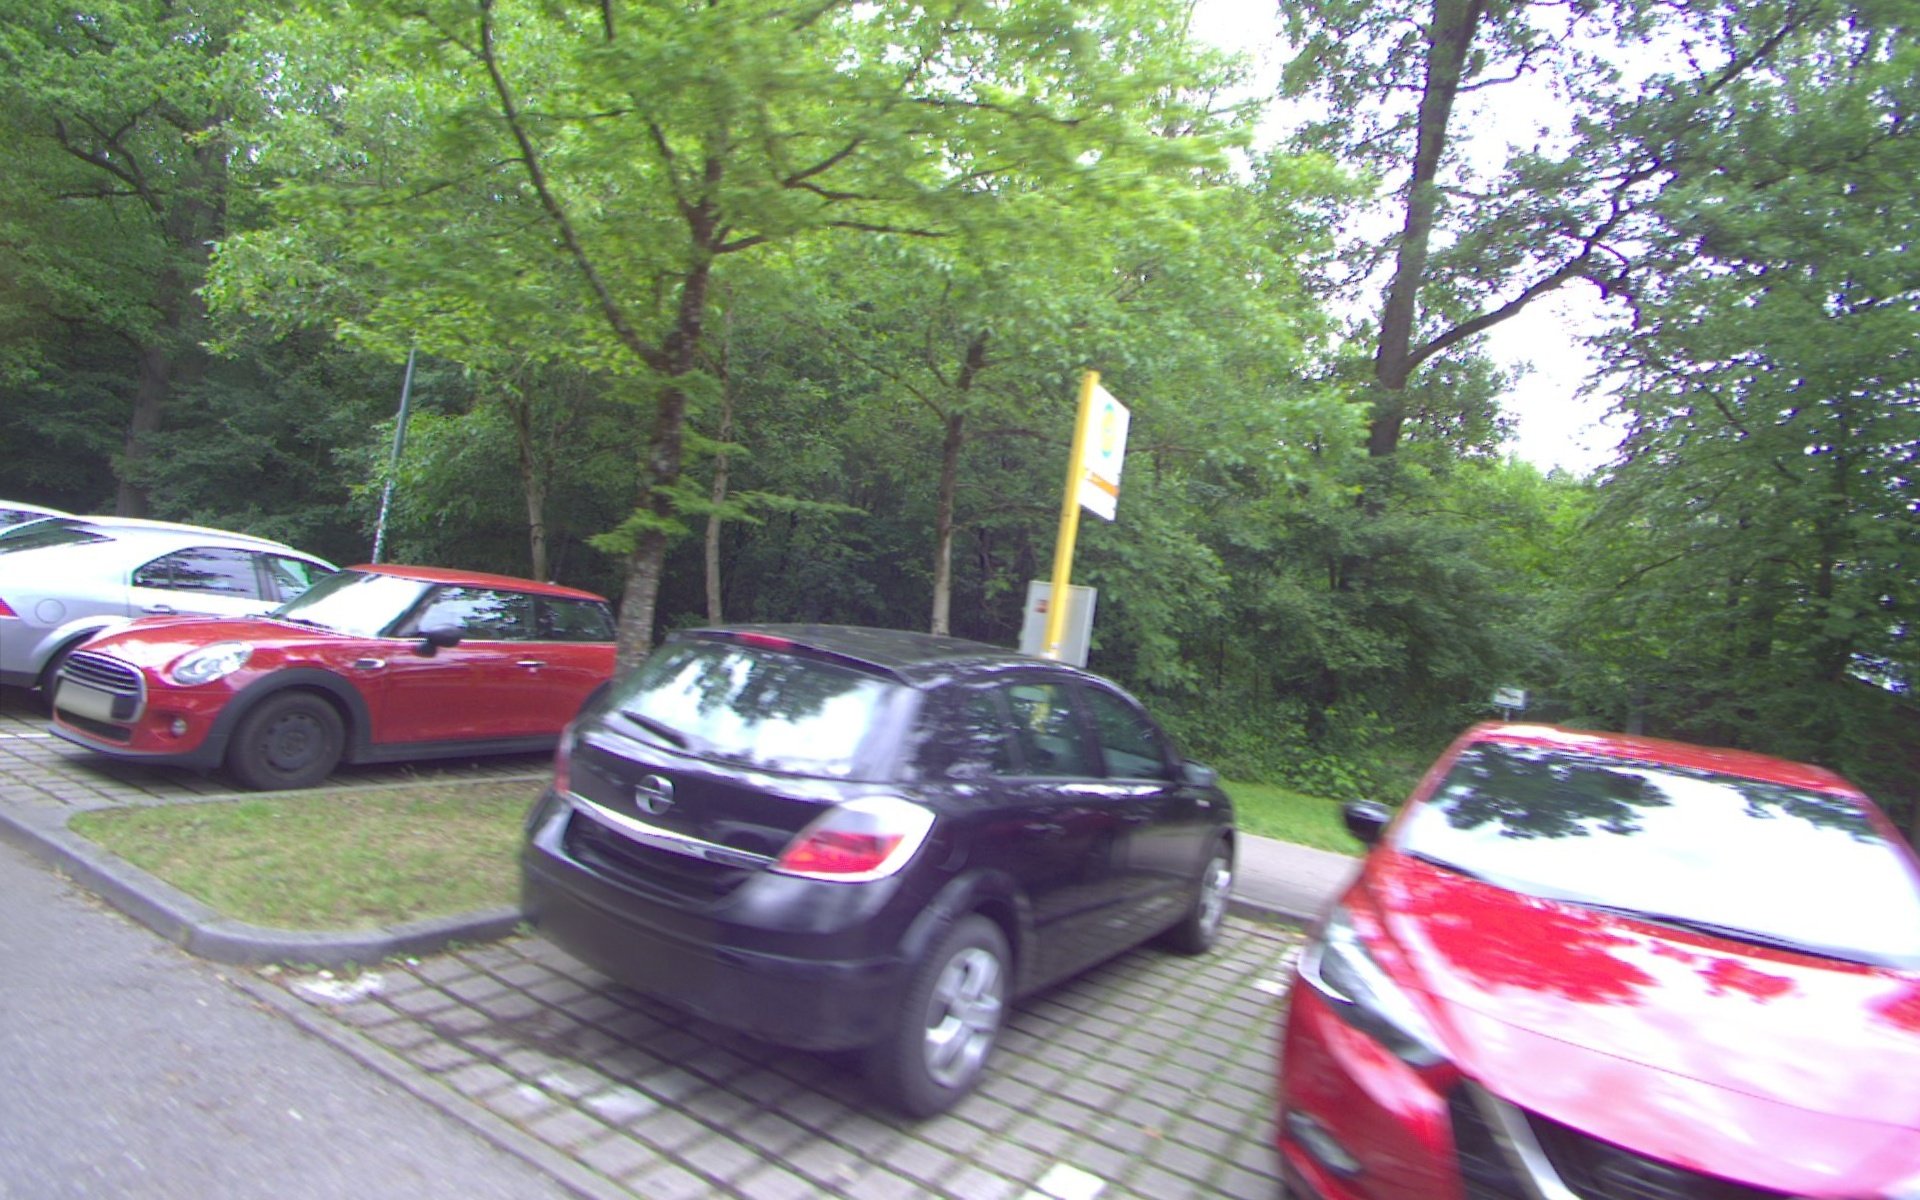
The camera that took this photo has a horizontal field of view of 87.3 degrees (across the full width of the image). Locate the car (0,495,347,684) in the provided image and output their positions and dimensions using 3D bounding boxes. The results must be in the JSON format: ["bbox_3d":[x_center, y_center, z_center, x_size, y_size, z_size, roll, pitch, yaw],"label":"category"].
[{"bbox_3d":[-8.432,-0.104,9.812,1.721,1.528,3.713,7,-2,28],"label":"car"}]

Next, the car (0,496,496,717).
[{"bbox_3d":[-6.452,0.117,8.573,1.833,1.478,4.137,7,-2,29],"label":"car"}]

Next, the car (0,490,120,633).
[{"bbox_3d":[-12.536,-0.683,11.606,1.915,1.607,3.781,8,-2,27],"label":"car"}]

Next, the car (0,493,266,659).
[{"bbox_3d":[-10.210,-0.330,11.005,1.699,1.563,3.856,7,-2,25],"label":"car"}]

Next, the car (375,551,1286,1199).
[{"bbox_3d":[-0.041,0.887,4.575,1.890,1.500,3.995,7,-2,31],"label":"car"}]

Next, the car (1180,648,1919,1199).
[{"bbox_3d":[2.461,1.185,3.673,1.887,1.497,4.238,7,-3,31],"label":"car"}]

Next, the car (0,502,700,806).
[{"bbox_3d":[-4.099,0.427,7.442,1.907,1.466,3.999,7,-2,27],"label":"car"}]
